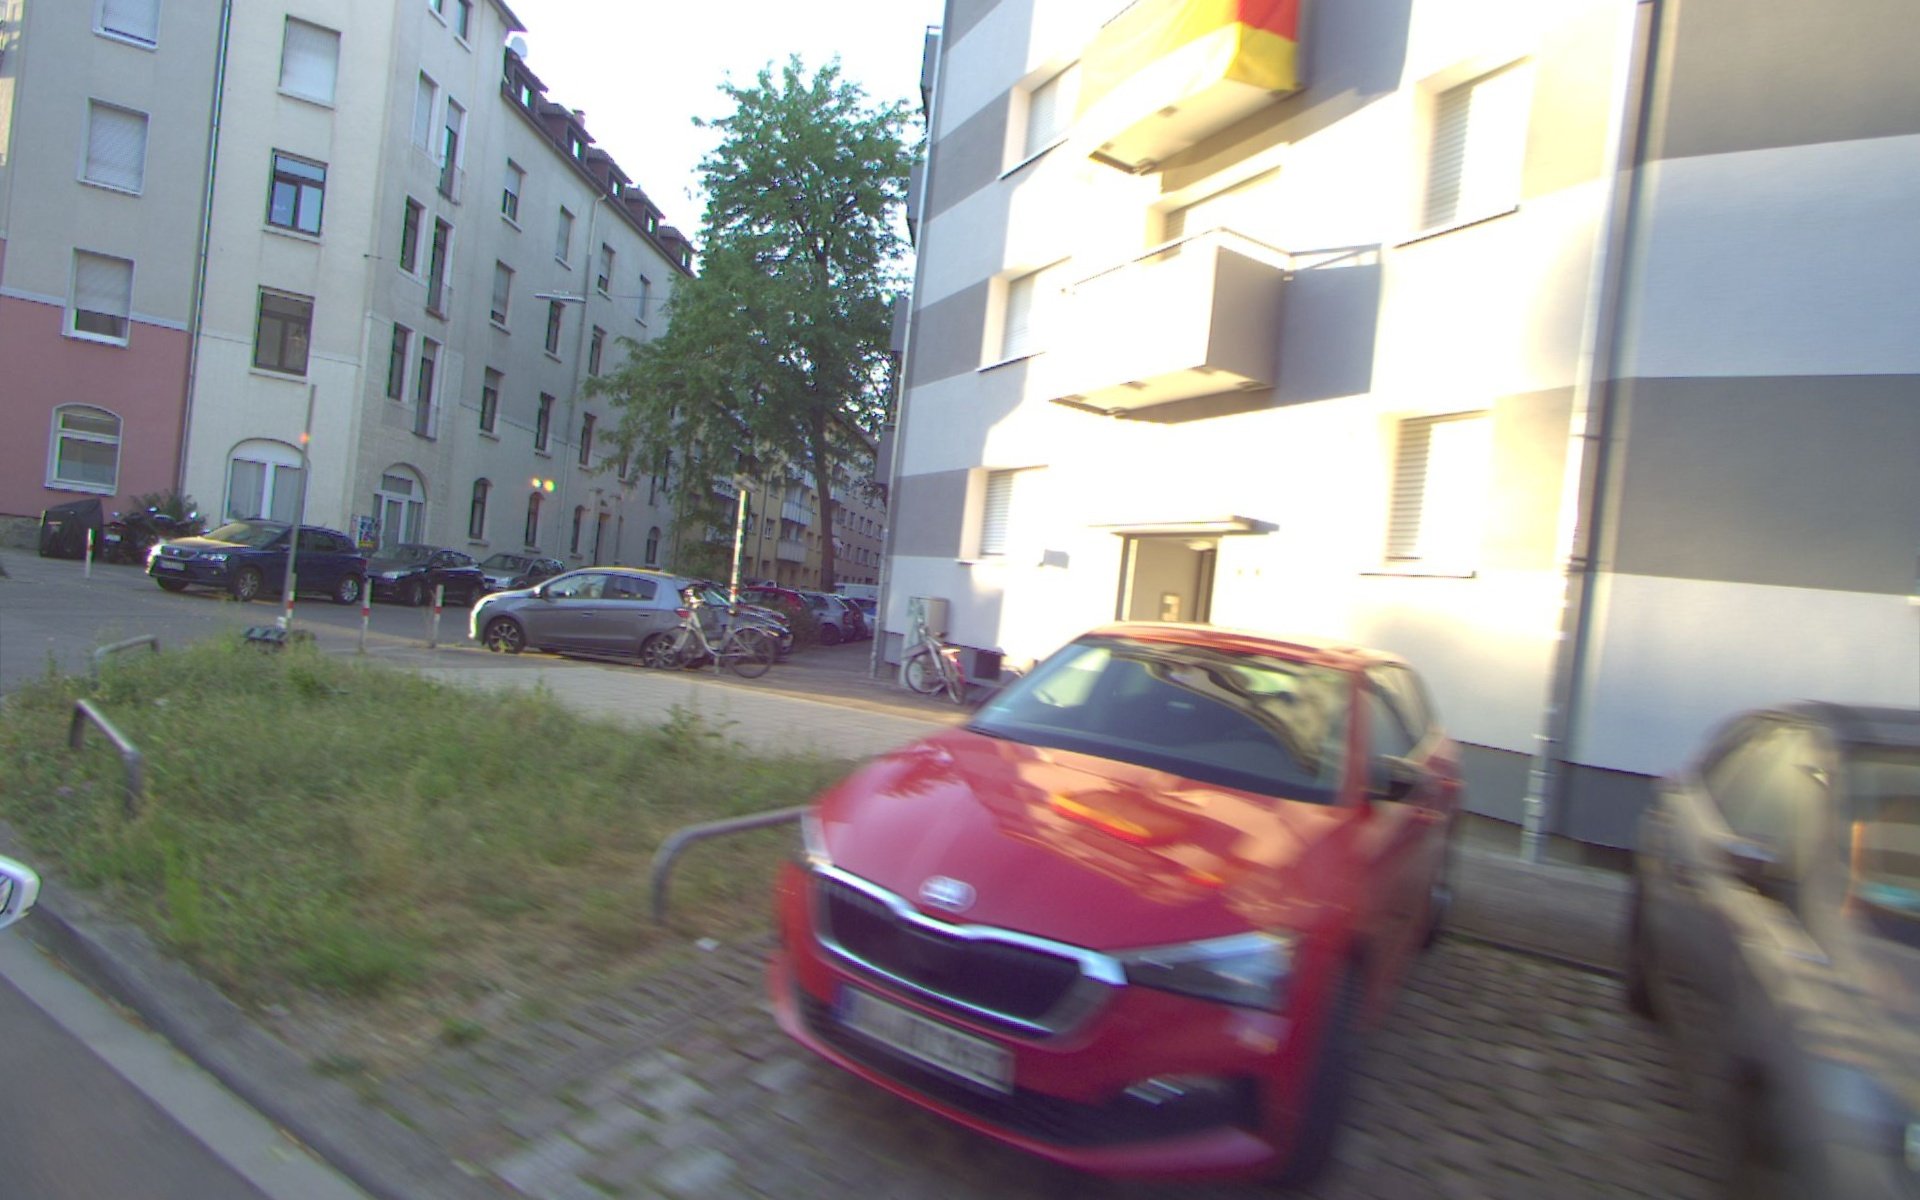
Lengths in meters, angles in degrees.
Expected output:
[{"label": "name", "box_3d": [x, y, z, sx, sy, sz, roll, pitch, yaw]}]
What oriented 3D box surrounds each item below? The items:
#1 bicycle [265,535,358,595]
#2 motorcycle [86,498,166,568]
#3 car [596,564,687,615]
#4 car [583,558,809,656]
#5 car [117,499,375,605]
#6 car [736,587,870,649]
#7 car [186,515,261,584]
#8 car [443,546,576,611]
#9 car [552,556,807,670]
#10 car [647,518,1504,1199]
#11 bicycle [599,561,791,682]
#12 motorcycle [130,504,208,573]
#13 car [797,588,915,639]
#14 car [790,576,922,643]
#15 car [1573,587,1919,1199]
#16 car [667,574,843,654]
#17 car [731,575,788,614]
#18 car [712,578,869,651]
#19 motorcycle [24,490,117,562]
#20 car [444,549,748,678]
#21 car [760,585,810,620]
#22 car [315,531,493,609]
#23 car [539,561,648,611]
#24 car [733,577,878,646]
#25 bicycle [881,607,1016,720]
[{"label": "bicycle", "box_3d": [-16.664, -0.897, 25.903, 1.886, 1.297, 0.679, 7, 0, -34]}, {"label": "motorcycle", "box_3d": [-19.374, -1.537, 23.438, 0.735, 1.452, 2.339, 6, 0, -25]}, {"label": "car", "box_3d": [-12.552, -0.380, 39.910, 1.962, 1.671, 4.002, 7, -1, 3]}, {"label": "car", "box_3d": [-5.359, 0.157, 20.768, 3.924, 1.482, 2.001, 7, 0, 5]}, {"label": "car", "box_3d": [-13.907, -0.860, 19.939, 1.795, 1.592, 4.002, 7, -1, 8]}, {"label": "car", "box_3d": [-5.168, 0.587, 33.538, 3.924, 1.549, 2.001, 7, 0, 4]}, {"label": "car", "box_3d": [-17.626, -1.204, 24.148, 0.836, 1.474, 2.760, 6, 0, -26]}, {"label": "car", "box_3d": [-13.096, -0.563, 29.566, 1.936, 1.524, 4.000, 7, -1, 1]}, {"label": "car", "box_3d": [-4.997, 0.239, 18.259, 3.924, 1.504, 1.848, 7, 0, 5]}, {"label": "car", "box_3d": [1.059, 0.783, 4.329, 1.891, 1.560, 4.306, 7, -1, 32]}, {"label": "bicycle", "box_3d": [-3.761, 0.305, 14.350, 2.458, 1.400, 0.516, 7, 0, 1]}, {"label": "motorcycle", "box_3d": [-18.626, -1.433, 23.760, 0.735, 1.452, 2.637, 6, 0, -25]}, {"label": "car", "box_3d": [-3.874, 0.529, 37.805, 3.923, 1.415, 2.001, 7, 0, 7]}, {"label": "car", "box_3d": [-4.120, 0.385, 40.467, 4.898, 2.038, 2.190, 7, 0, 0]}, {"label": "car", "box_3d": [3.024, 1.054, 2.702, 1.966, 1.682, 3.995, 7, -1, 28]}, {"label": "car", "box_3d": [-5.207, 0.362, 25.941, 3.925, 1.534, 2.001, 7, 0, 3]}, {"label": "car", "box_3d": [-10.977, -0.270, 55.462, 1.962, 1.804, 4.002, 6, -1, 3]}, {"label": "car", "box_3d": [-4.741, 0.408, 28.549, 3.925, 1.549, 2.001, 7, 0, 3]}, {"label": "motorcycle", "box_3d": [-20.138, -1.637, 22.845, 0.828, 1.452, 2.339, 6, 0, -25]}, {"label": "car", "box_3d": [-5.622, 0.213, 15.890, 3.924, 1.437, 2.001, 7, 0, 4]}, {"label": "car", "box_3d": [-10.626, 0.182, 61.421, 1.962, 1.804, 4.002, 6, -1, 3]}, {"label": "car", "box_3d": [-13.516, -0.665, 24.776, 1.934, 1.524, 4.001, 7, -1, 2]}, {"label": "car", "box_3d": [-12.748, -0.434, 35.292, 2.055, 1.370, 4.002, 7, -1, 3]}, {"label": "car", "box_3d": [-4.680, 0.361, 30.852, 3.925, 1.604, 2.000, 7, 0, 3]}, {"label": "bicycle", "box_3d": [-0.216, 0.832, 14.057, 0.690, 1.289, 2.436, 7, -1, -29]}]
